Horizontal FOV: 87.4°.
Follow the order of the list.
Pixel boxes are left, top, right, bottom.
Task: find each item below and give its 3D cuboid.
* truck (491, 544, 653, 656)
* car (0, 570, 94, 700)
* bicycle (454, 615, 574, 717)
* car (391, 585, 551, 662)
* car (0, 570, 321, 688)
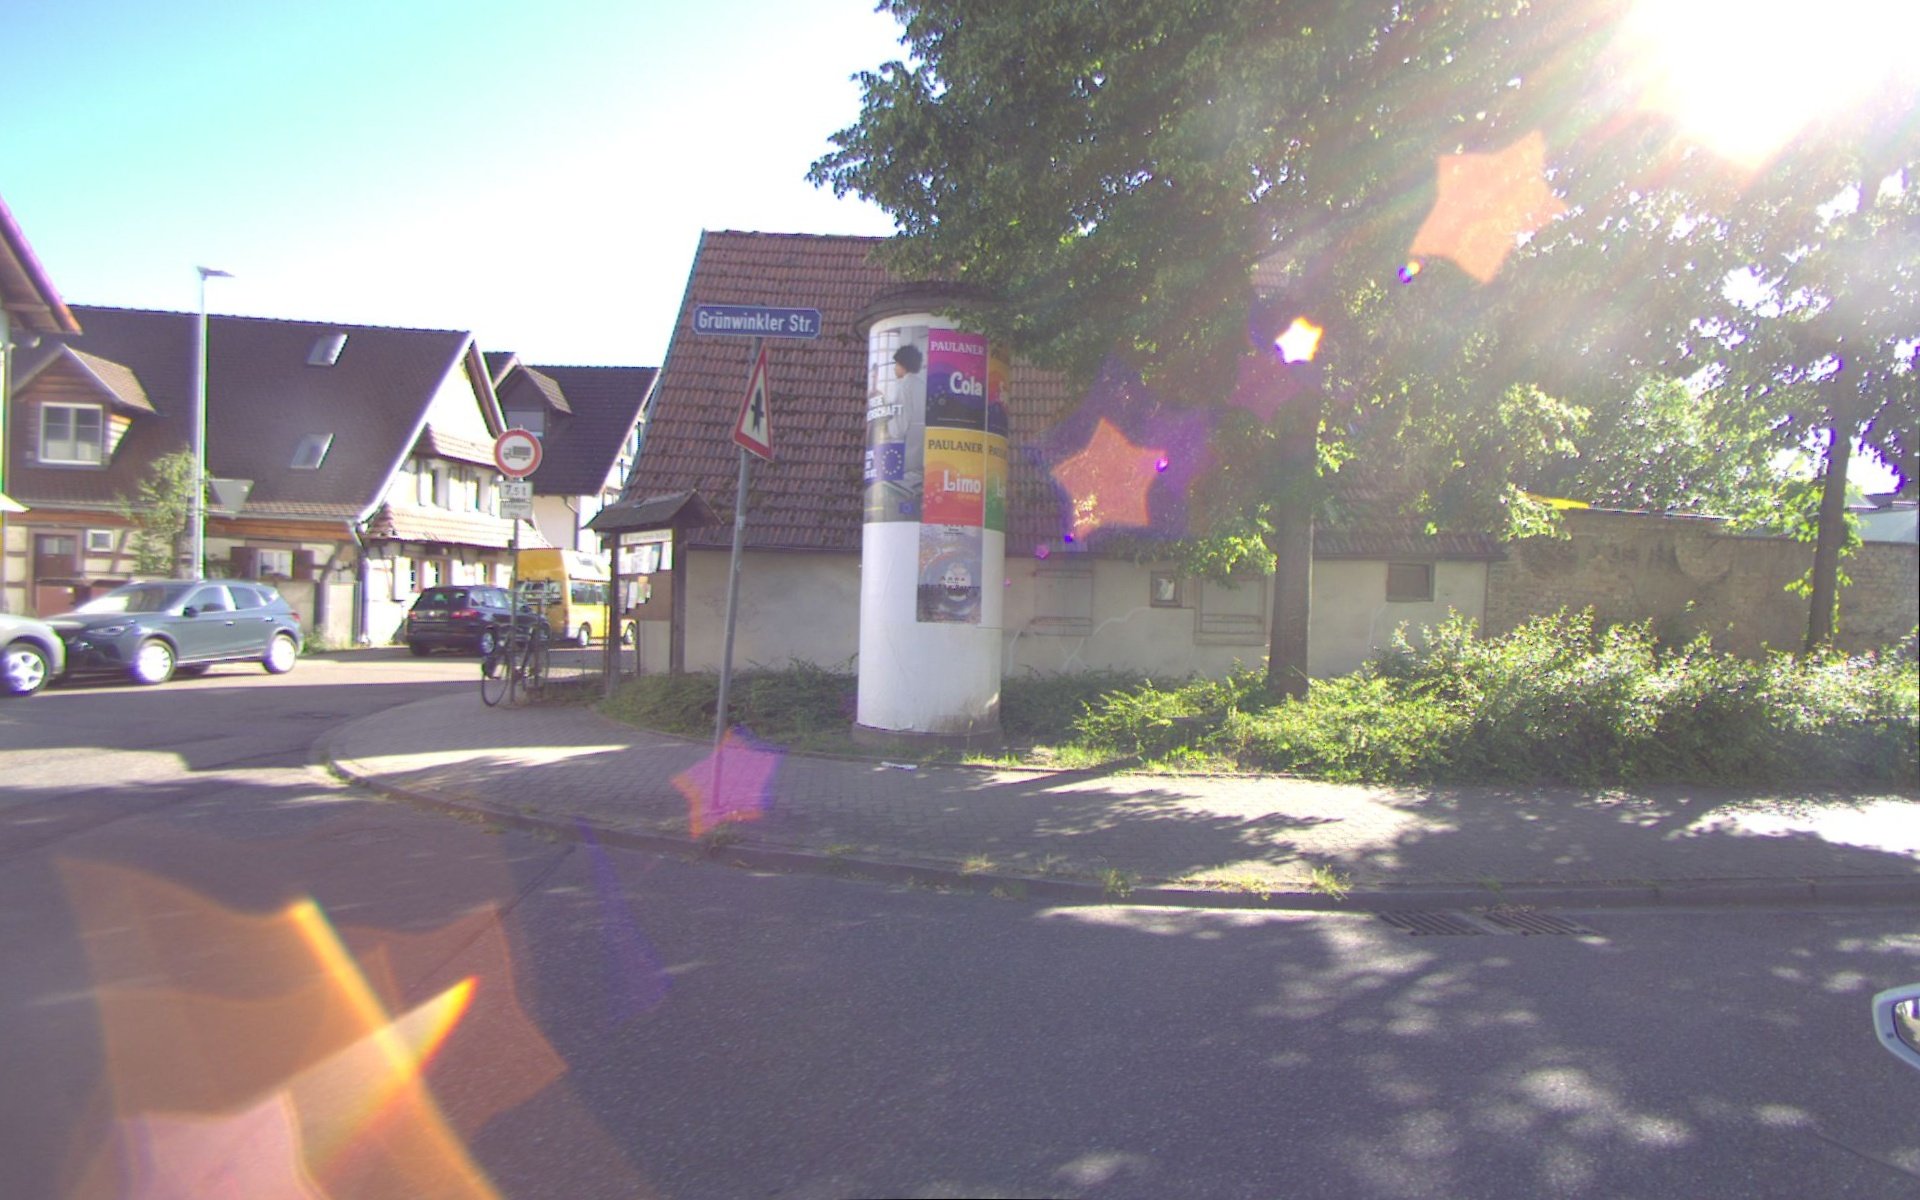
[{"bbox_3d":[-11.279,0.057,29.813,2.230,2.906,5.785,2,-1,3],"label":"truck"},{"bbox_3d":[-12.285,0.366,11.025,1.836,1.525,4.109,2,-1,3],"label":"car"},{"bbox_3d":[-5.638,0.791,12.817,0.426,1.192,1.830,2,0,10],"label":"bicycle"},{"bbox_3d":[-11.705,0.562,24.343,1.776,1.643,3.882,2,-1,3],"label":"car"},{"bbox_3d":[-12.100,0.419,15.415,1.776,1.525,4.109,2,-1,3],"label":"car"}]
